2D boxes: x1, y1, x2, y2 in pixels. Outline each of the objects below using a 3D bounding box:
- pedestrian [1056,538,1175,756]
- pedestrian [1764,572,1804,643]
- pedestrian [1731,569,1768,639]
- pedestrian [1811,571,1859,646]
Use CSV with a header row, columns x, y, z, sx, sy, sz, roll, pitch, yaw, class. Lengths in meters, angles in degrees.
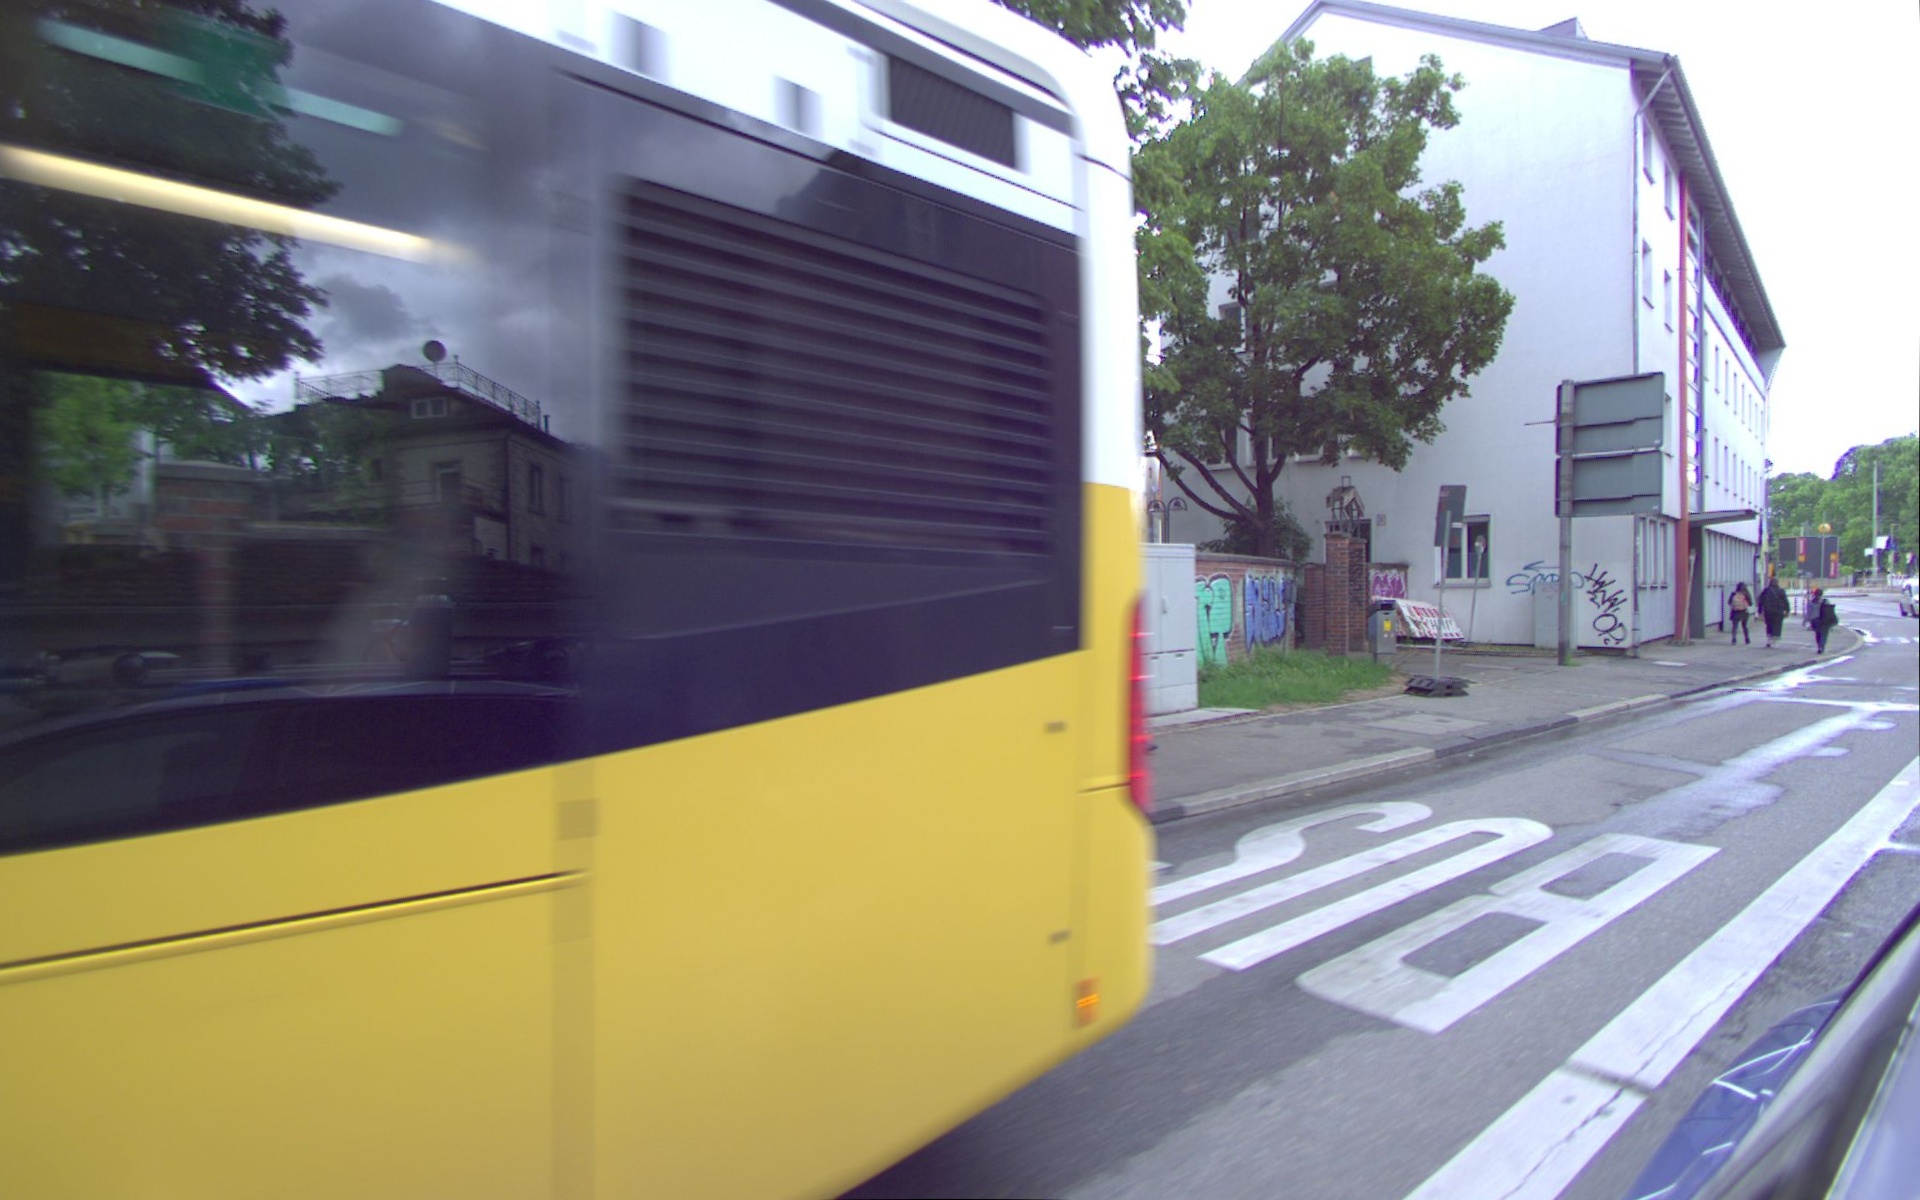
x,y,z,sx,sy,sz,roll,pitch,yaw,class
1.358,0.386,8.838,0.807,1.802,0.583,-1,-2,-40,pedestrian
21.208,0.190,26.051,0.687,1.779,0.864,2,1,43,pedestrian
20.696,0.102,26.528,0.596,1.779,0.544,1,1,-33,pedestrian
21.850,0.203,25.270,0.803,1.816,0.928,3,1,43,pedestrian
